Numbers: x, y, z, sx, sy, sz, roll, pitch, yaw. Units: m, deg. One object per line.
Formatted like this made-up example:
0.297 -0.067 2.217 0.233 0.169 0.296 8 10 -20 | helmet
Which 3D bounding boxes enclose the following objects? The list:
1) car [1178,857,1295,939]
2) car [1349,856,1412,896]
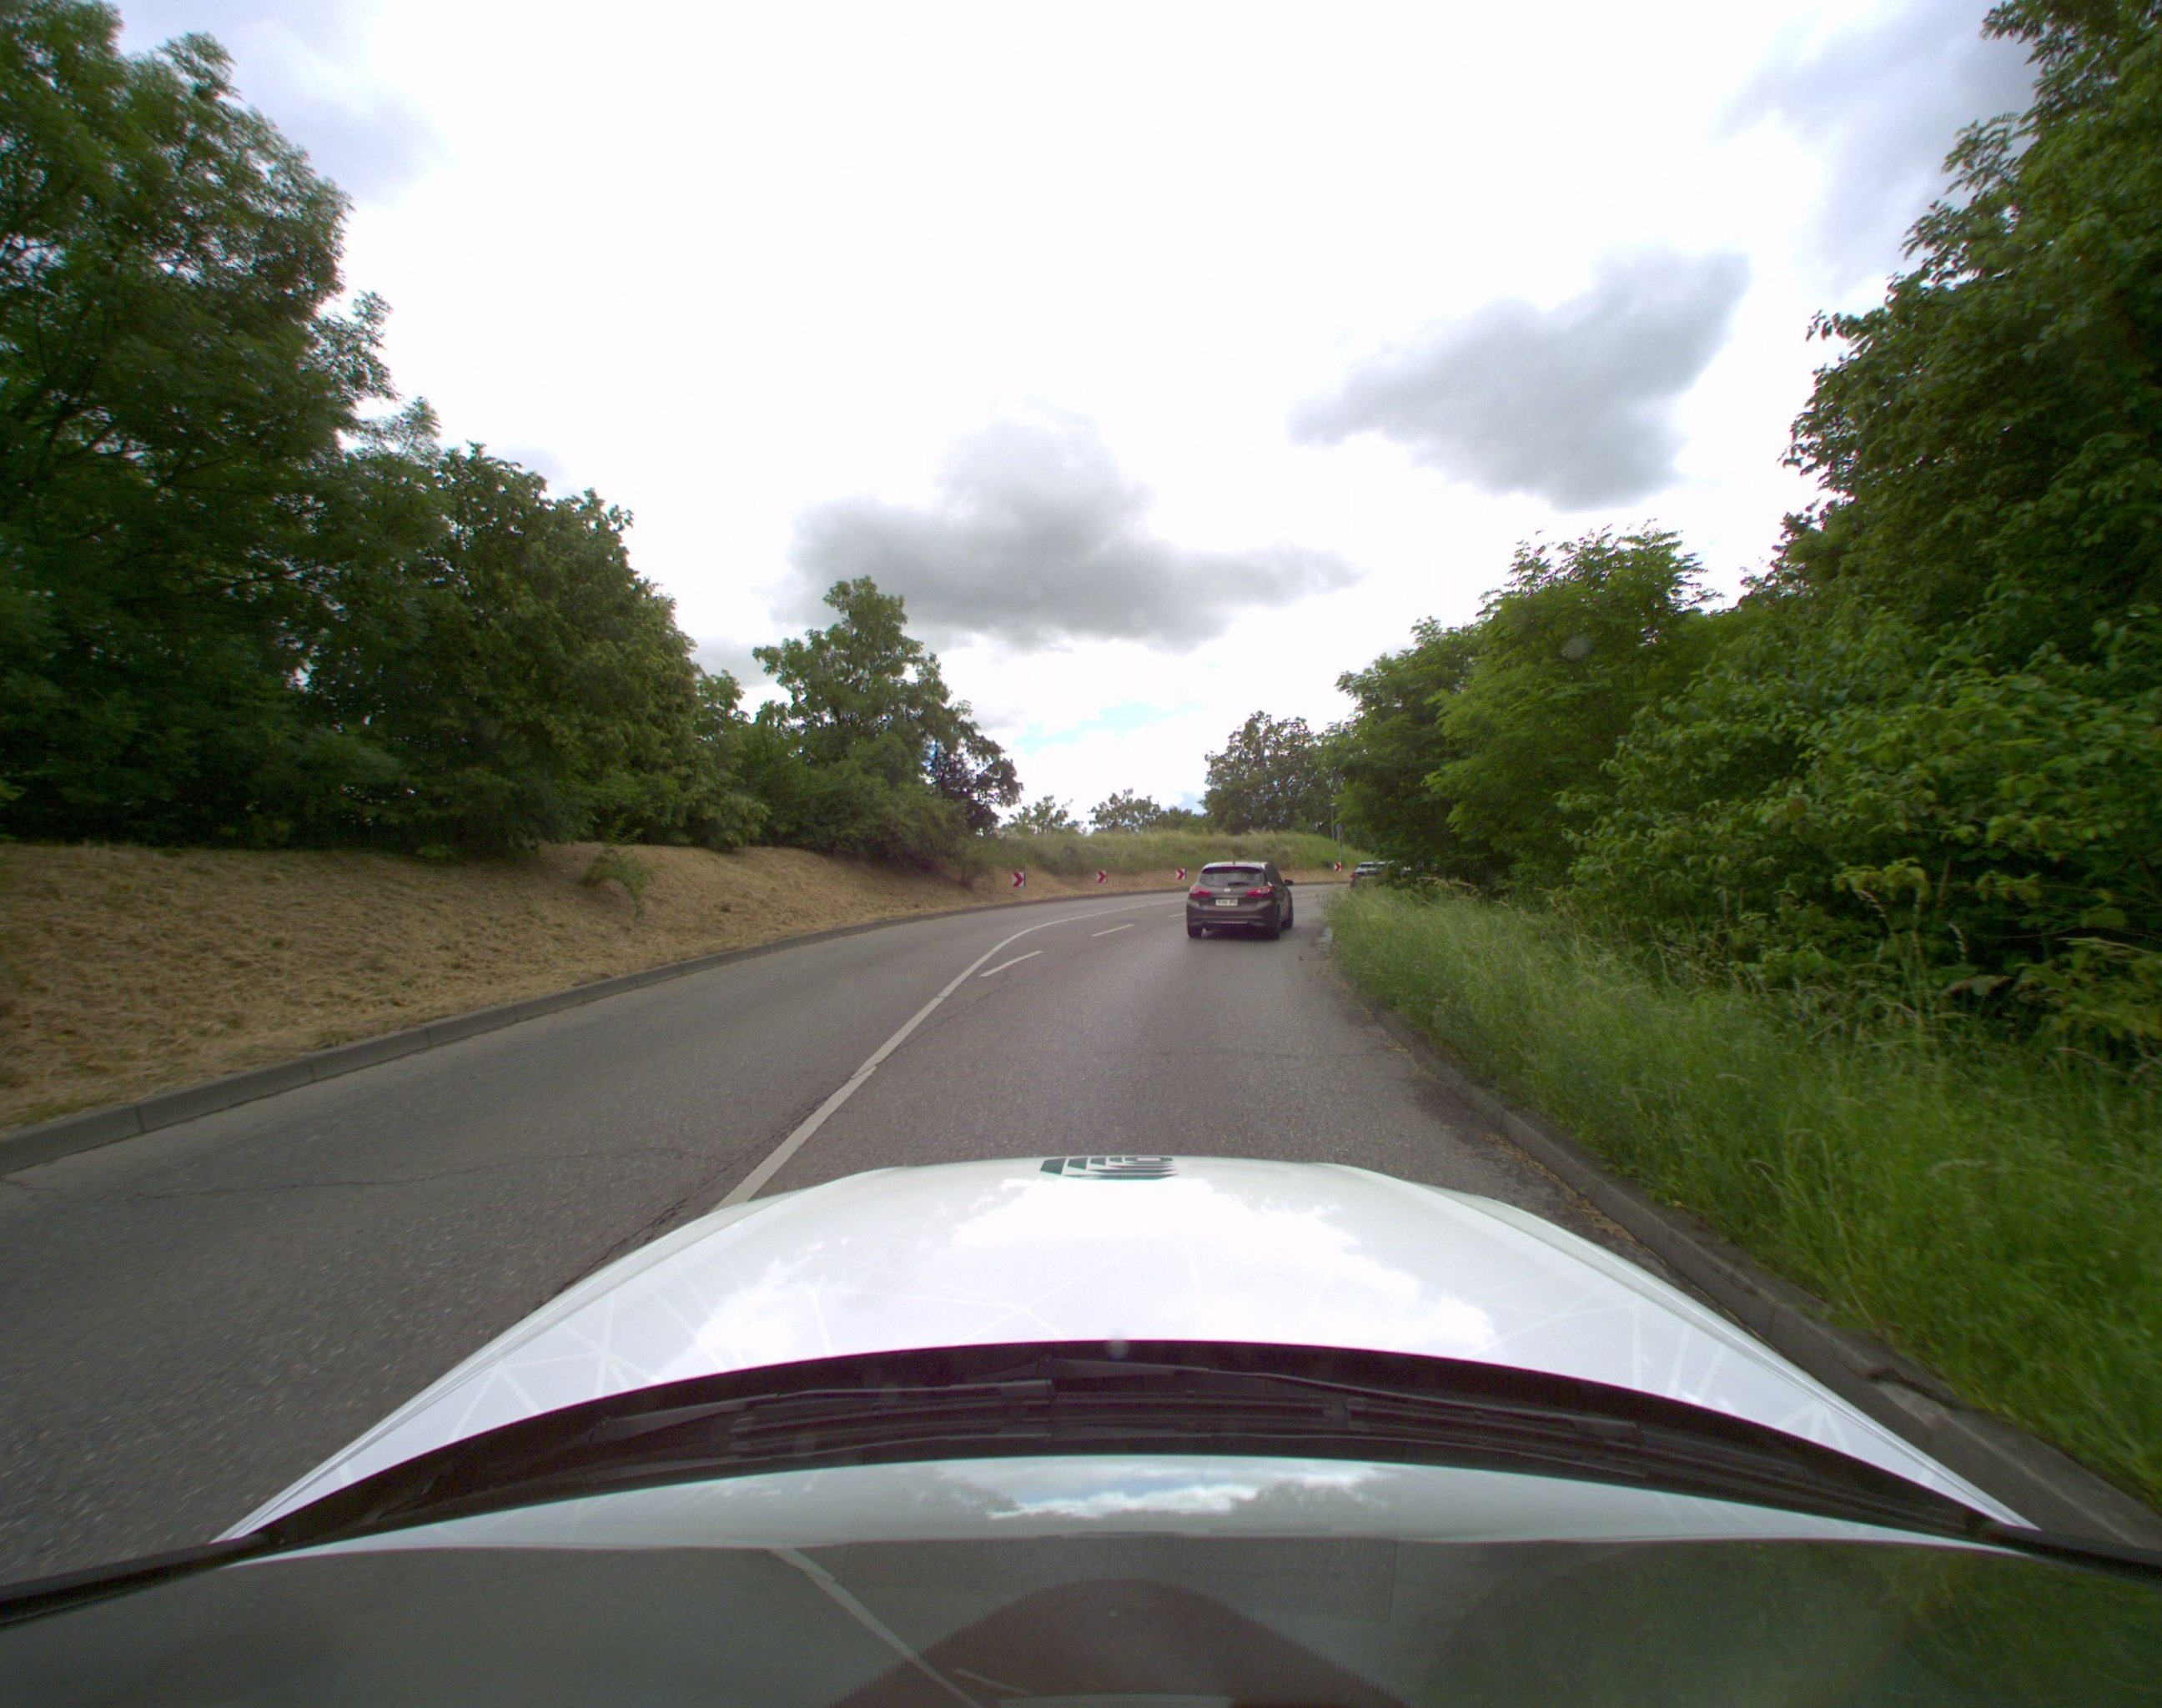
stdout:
3.379 0.824 17.122 1.829 1.493 4.019 -1 0 19 | car
12.141 0.828 32.889 1.882 1.466 4.024 0 0 27 | car
